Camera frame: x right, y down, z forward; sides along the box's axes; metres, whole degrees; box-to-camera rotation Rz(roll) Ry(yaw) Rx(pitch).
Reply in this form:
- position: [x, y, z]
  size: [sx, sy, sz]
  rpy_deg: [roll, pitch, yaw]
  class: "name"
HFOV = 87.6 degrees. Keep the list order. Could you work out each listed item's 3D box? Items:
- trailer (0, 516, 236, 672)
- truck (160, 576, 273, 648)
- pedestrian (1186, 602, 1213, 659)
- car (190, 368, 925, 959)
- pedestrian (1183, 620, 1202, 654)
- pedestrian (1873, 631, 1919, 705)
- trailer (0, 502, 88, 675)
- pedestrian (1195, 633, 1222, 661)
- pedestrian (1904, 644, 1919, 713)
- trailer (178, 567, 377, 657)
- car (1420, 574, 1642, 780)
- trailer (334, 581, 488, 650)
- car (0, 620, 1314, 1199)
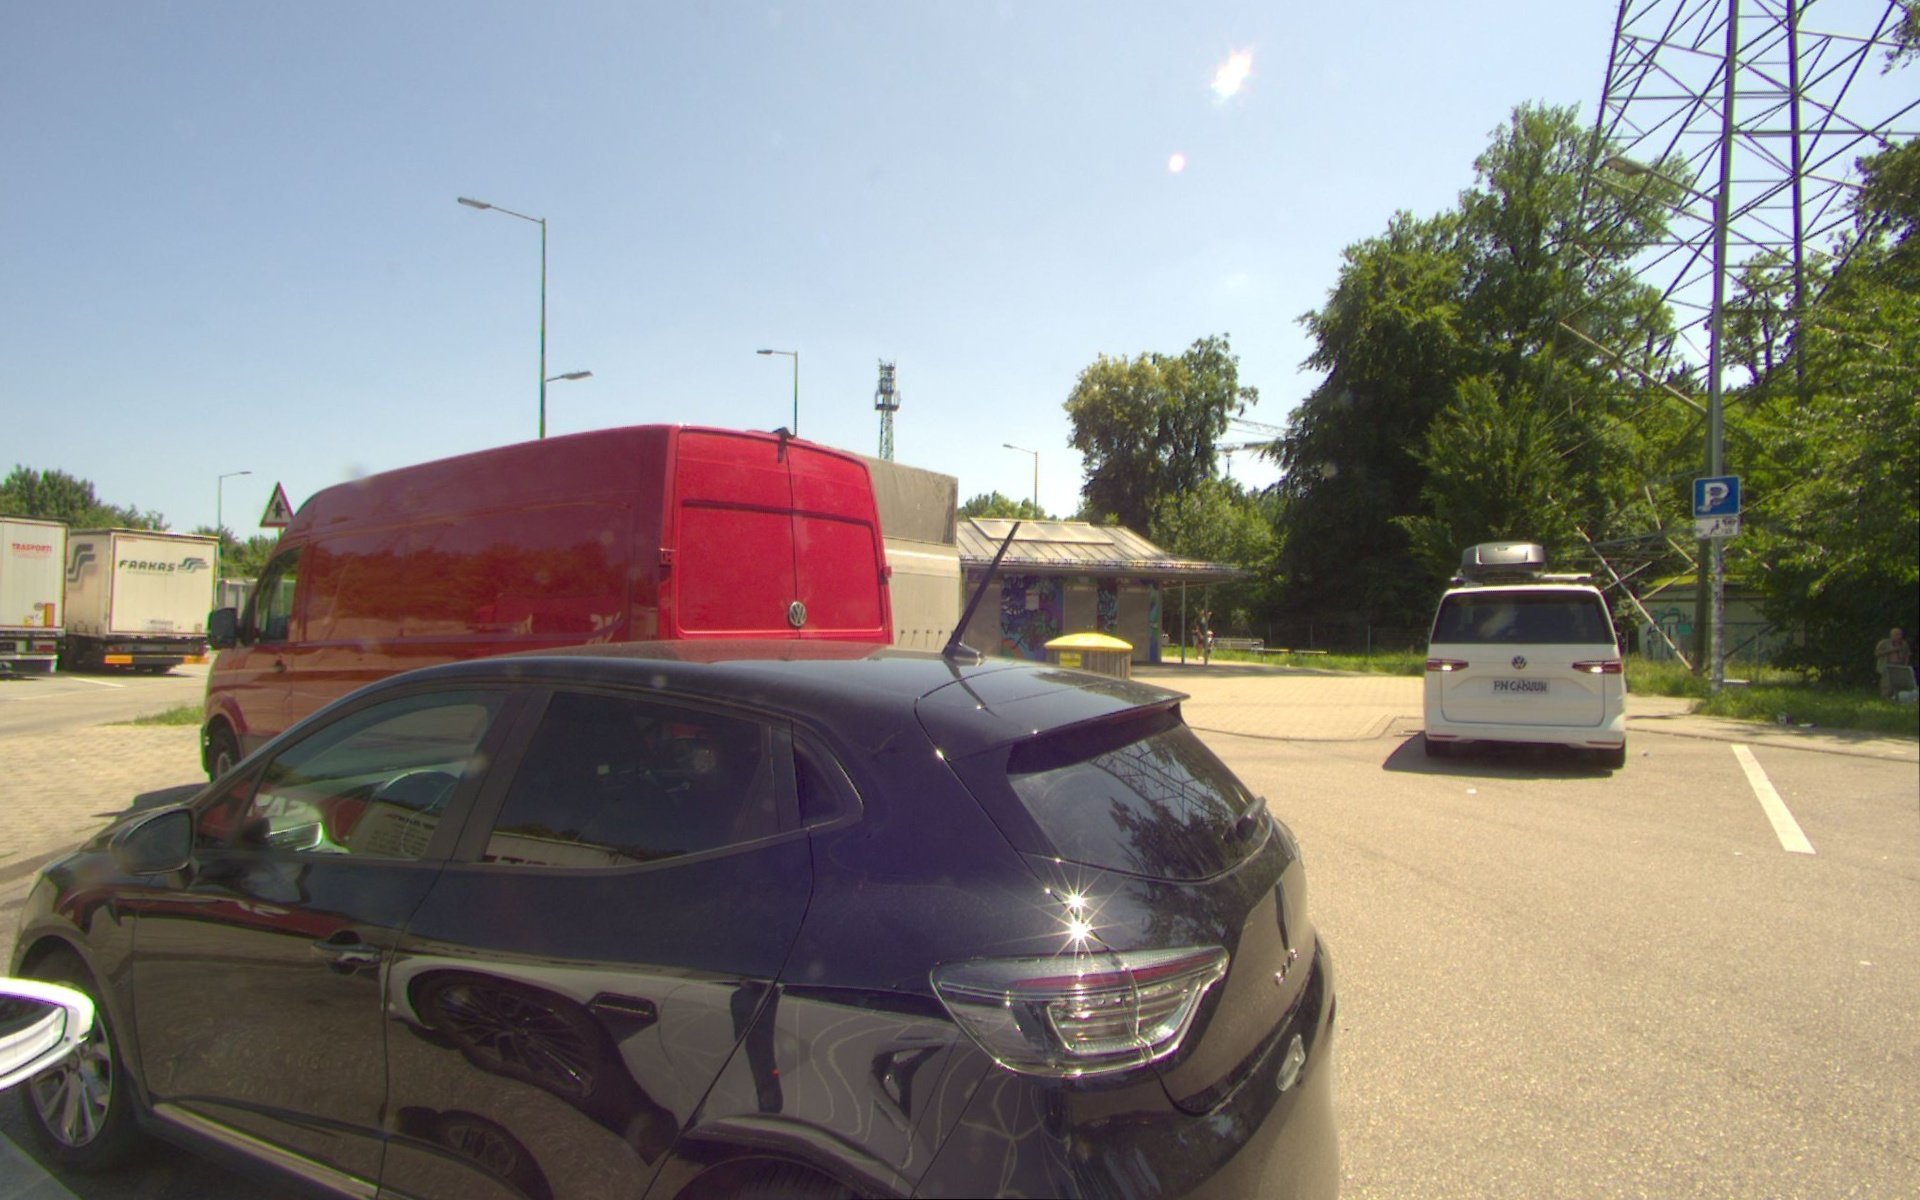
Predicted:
- position: [-27.666, -0.184, 31.638]
  size: [13.523, 4.185, 2.835]
  rpy_deg: [1, -2, 33]
  class: "trailer"
- position: [-37.702, 0.578, 50.747]
  size: [5.405, 3.407, 2.847]
  rpy_deg: [1, -2, 34]
  class: "truck"
- position: [8.817, 1.136, 36.879]
  size: [0.763, 2.067, 0.646]
  rpy_deg: [0, -1, -6]
  class: "pedestrian"
- position: [-3.358, 0.316, 7.368]
  size: [6.310, 2.731, 2.060]
  rpy_deg: [0, -1, 37]
  class: "car"
- position: [10.593, 1.678, 45.612]
  size: [0.634, 1.547, 0.565]
  rpy_deg: [0, -1, -10]
  class: "pedestrian"
- position: [18.563, 1.334, 19.771]
  size: [0.660, 1.422, 0.647]
  rpy_deg: [-1, -1, 33]
  class: "pedestrian"
- position: [-28.974, -0.364, 28.157]
  size: [13.523, 4.185, 2.835]
  rpy_deg: [1, -2, 33]
  class: "trailer"
- position: [8.857, 1.669, 35.659]
  size: [0.763, 0.960, 0.646]
  rpy_deg: [0, -1, -6]
  class: "pedestrian"
- position: [17.185, 1.368, 17.488]
  size: [0.876, 1.192, 0.666]
  rpy_deg: [-1, -2, 32]
  class: "pedestrian"
- position: [-32.392, 0.494, 47.148]
  size: [13.530, 3.764, 2.834]
  rpy_deg: [1, -2, 34]
  class: "trailer"
- position: [6.518, 0.778, 11.853]
  size: [1.881, 1.937, 4.549]
  rpy_deg: [-1, -1, 26]
  class: "car"
- position: [-36.058, 0.930, 65.441]
  size: [13.530, 4.101, 2.834]
  rpy_deg: [1, -2, 34]
  class: "trailer"
- position: [-1.066, 0.840, 2.916]
  size: [3.757, 1.501, 1.736]
  rpy_deg: [0, -1, 27]
  class: "car"
